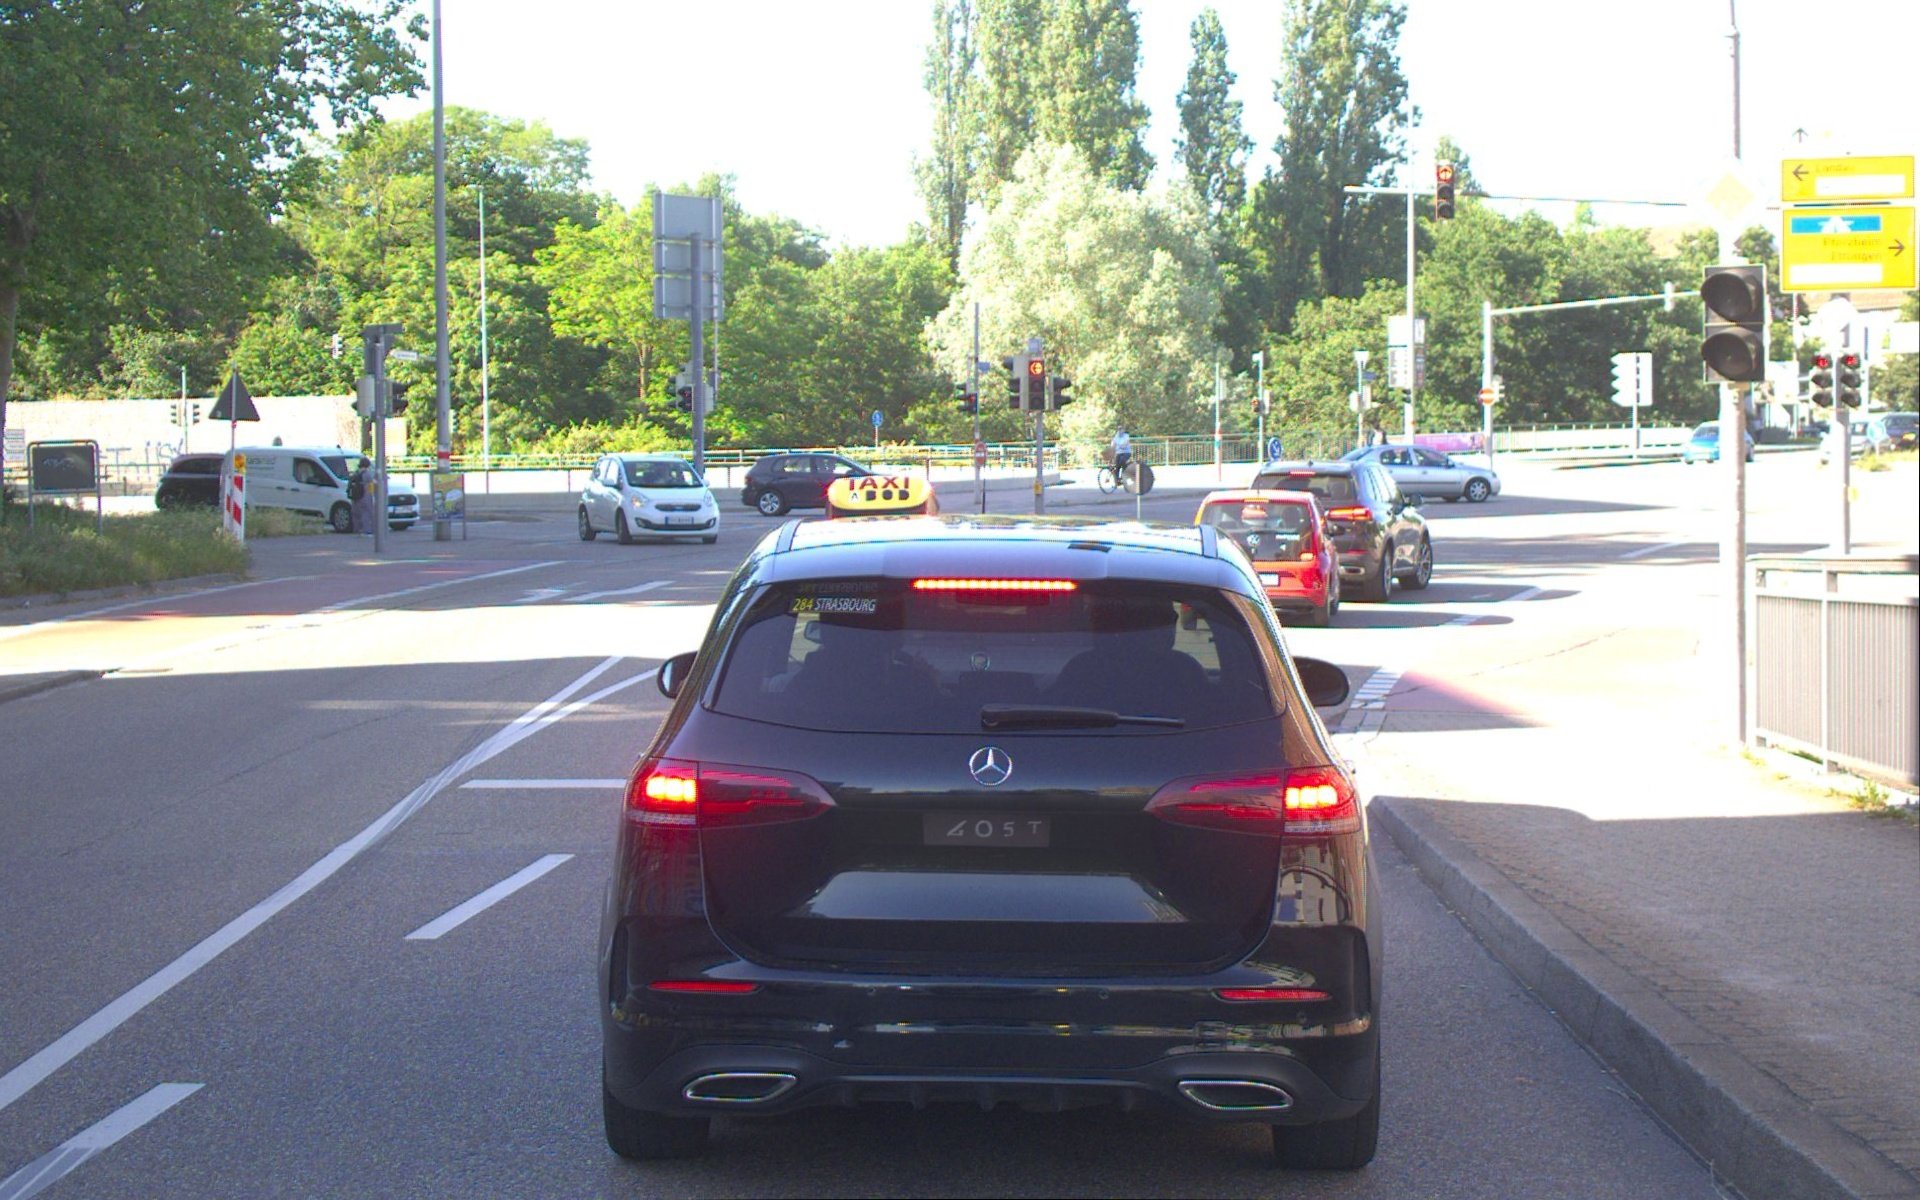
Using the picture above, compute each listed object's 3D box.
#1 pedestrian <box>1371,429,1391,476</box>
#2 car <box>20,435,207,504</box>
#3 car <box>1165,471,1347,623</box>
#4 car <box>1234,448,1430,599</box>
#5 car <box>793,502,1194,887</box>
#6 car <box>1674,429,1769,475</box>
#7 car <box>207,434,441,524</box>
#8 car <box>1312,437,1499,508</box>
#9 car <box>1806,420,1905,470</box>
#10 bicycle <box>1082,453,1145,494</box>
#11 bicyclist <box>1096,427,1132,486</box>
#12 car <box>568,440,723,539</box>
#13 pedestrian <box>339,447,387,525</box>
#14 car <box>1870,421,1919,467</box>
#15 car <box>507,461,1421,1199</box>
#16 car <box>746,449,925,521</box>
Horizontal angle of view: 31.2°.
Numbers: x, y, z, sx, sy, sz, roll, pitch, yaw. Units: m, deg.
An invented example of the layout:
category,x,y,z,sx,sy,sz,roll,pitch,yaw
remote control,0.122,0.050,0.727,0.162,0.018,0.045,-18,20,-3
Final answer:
category,x,y,z,sx,sy,sz,roll,pitch,yaw
pedestrian,14.152,-4.957,115.567,0.451,1.580,0.500,1,3,40
car,-20.655,-3.180,83.946,3.989,1.624,1.890,0,2,13
car,3.368,-0.635,38.666,1.722,1.516,3.485,0,4,10
car,4.843,-1.035,44.324,1.723,1.805,4.294,1,3,17
car,0.183,0.346,16.073,1.640,1.524,3.474,-1,2,2
car,27.065,-5.274,122.128,1.882,1.572,3.992,1,3,36
car,-13.458,-2.540,72.617,4.892,1.788,1.920,0,3,35
car,10.562,-3.041,81.627,3.986,1.624,1.892,-1,2,-11
car,29.727,-5.153,114.034,1.882,1.572,3.992,1,3,36
bicycle,4.117,-3.393,92.042,0.527,1.046,1.985,0,3,42
bicyclist,4.117,-3.832,92.014,0.527,1.545,0.805,0,3,42
car,-5.718,-2.029,62.183,1.777,1.629,4.002,-3,4,-20
pedestrian,-11.676,-2.230,67.234,0.705,1.520,0.743,1,2,10
car,33.202,-5.419,119.199,1.882,1.572,3.992,1,3,36
car,-0.022,0.472,9.139,1.877,1.607,4.000,1,2,-1
car,-2.885,-2.688,80.252,3.987,1.624,1.891,0,2,4
